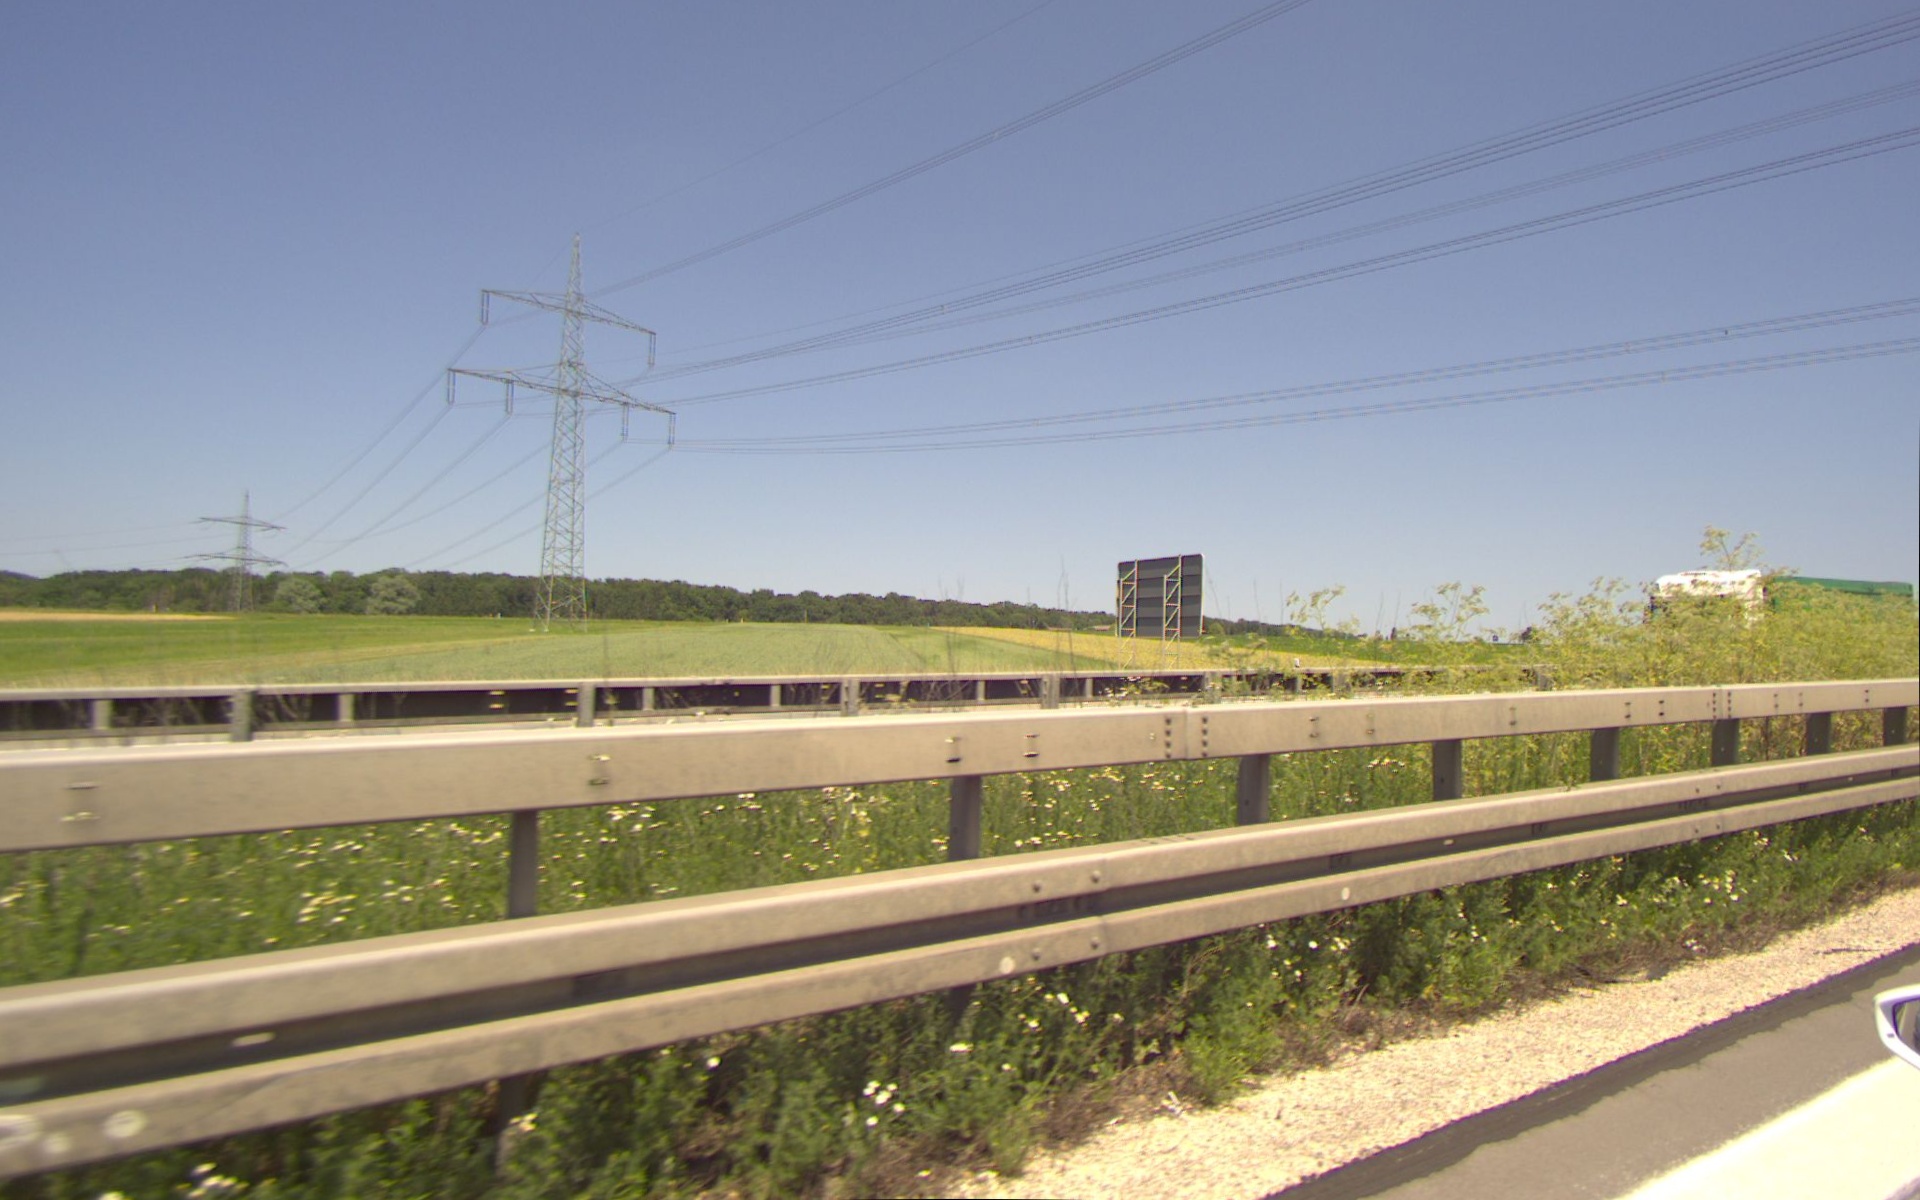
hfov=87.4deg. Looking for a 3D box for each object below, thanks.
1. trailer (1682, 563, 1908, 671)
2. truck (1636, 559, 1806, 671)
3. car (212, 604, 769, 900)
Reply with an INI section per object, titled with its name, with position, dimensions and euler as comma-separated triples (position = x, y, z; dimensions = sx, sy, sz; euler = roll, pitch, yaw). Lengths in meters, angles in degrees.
[trailer]
position = 32.152, 0.742, 38.402
dimensions = 12.394, 3.642, 2.739
euler = 2, 0, -31
[truck]
position = 26.504, 0.561, 34.956
dimensions = 5.833, 3.606, 2.709
euler = 2, 0, -31
[car]
position = -3.264, 0.922, 7.325
dimensions = 3.317, 1.679, 1.589
euler = 2, 0, -31
